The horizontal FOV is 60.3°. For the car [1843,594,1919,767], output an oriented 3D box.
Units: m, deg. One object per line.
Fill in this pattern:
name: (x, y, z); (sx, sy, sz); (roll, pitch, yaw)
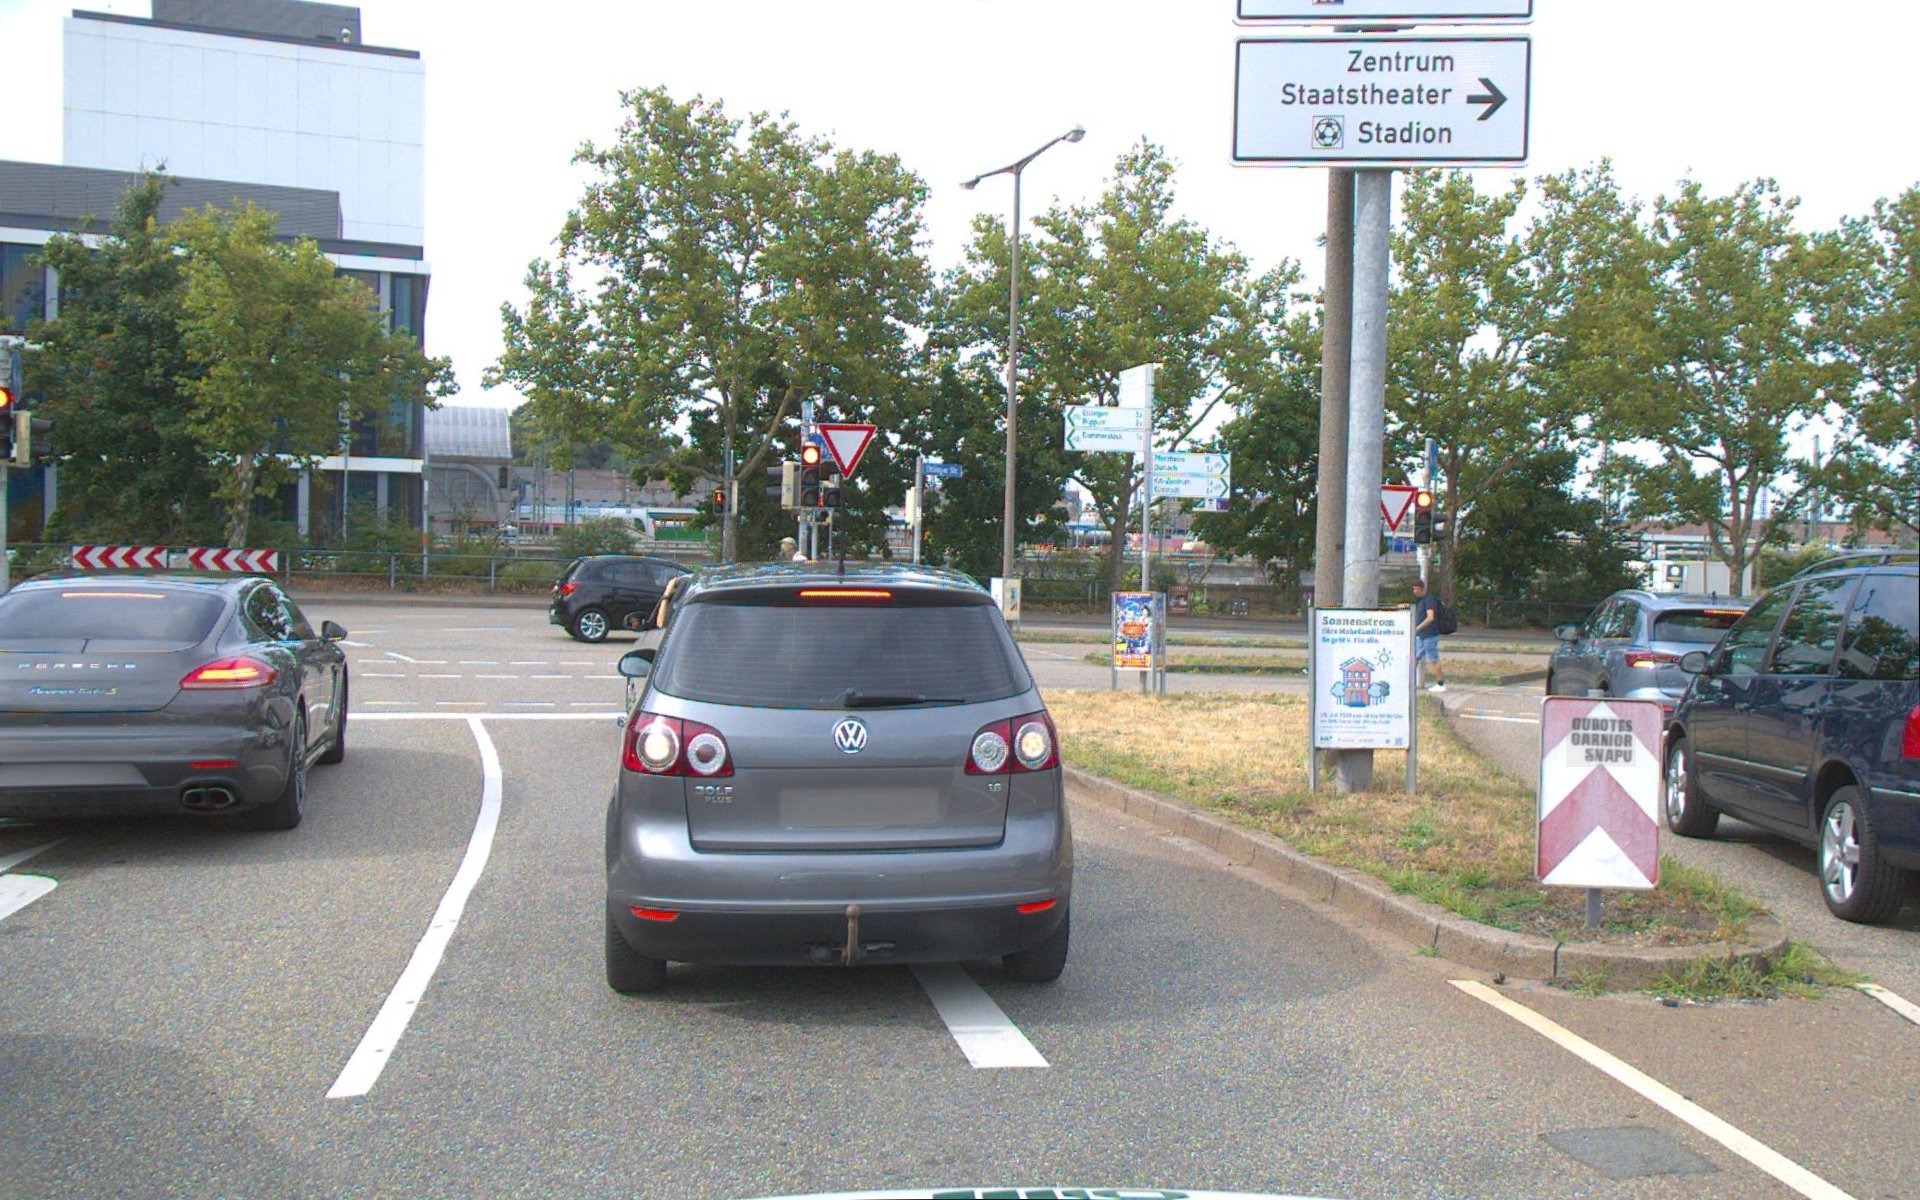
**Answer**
car: (10.097, 0.817, 15.755); (1.713, 1.671, 4.141); (3, 0, 10)

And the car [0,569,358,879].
car: (-4.891, 0.565, 10.296); (1.789, 1.438, 4.756); (1, 1, -16)

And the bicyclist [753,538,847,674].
bicyclist: (-2.097, 0.071, 21.600); (1.093, 1.726, 0.810); (0, 1, -15)

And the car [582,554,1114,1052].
car: (-0.641, 0.625, 7.373); (1.709, 1.573, 4.074); (1, 1, -9)

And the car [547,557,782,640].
car: (-5.313, -0.029, 29.616); (3.992, 1.391, 1.695); (1, 1, -17)

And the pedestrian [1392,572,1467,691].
pedestrian: (7.151, 0.467, 25.164); (1.025, 1.740, 0.854); (2, 1, 17)

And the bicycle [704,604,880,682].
bicycle: (-2.201, 0.554, 21.580); (2.191, 0.969, 0.808); (0, 1, -15)

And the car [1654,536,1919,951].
car: (5.224, 0.644, 8.882); (1.713, 1.754, 4.141); (3, 0, 8)

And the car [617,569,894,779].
car: (-1.886, 0.512, 14.099); (1.713, 1.508, 4.064); (1, 1, -16)

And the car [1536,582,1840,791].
car: (6.684, 0.706, 15.647); (1.654, 1.613, 4.160); (3, 0, 10)
